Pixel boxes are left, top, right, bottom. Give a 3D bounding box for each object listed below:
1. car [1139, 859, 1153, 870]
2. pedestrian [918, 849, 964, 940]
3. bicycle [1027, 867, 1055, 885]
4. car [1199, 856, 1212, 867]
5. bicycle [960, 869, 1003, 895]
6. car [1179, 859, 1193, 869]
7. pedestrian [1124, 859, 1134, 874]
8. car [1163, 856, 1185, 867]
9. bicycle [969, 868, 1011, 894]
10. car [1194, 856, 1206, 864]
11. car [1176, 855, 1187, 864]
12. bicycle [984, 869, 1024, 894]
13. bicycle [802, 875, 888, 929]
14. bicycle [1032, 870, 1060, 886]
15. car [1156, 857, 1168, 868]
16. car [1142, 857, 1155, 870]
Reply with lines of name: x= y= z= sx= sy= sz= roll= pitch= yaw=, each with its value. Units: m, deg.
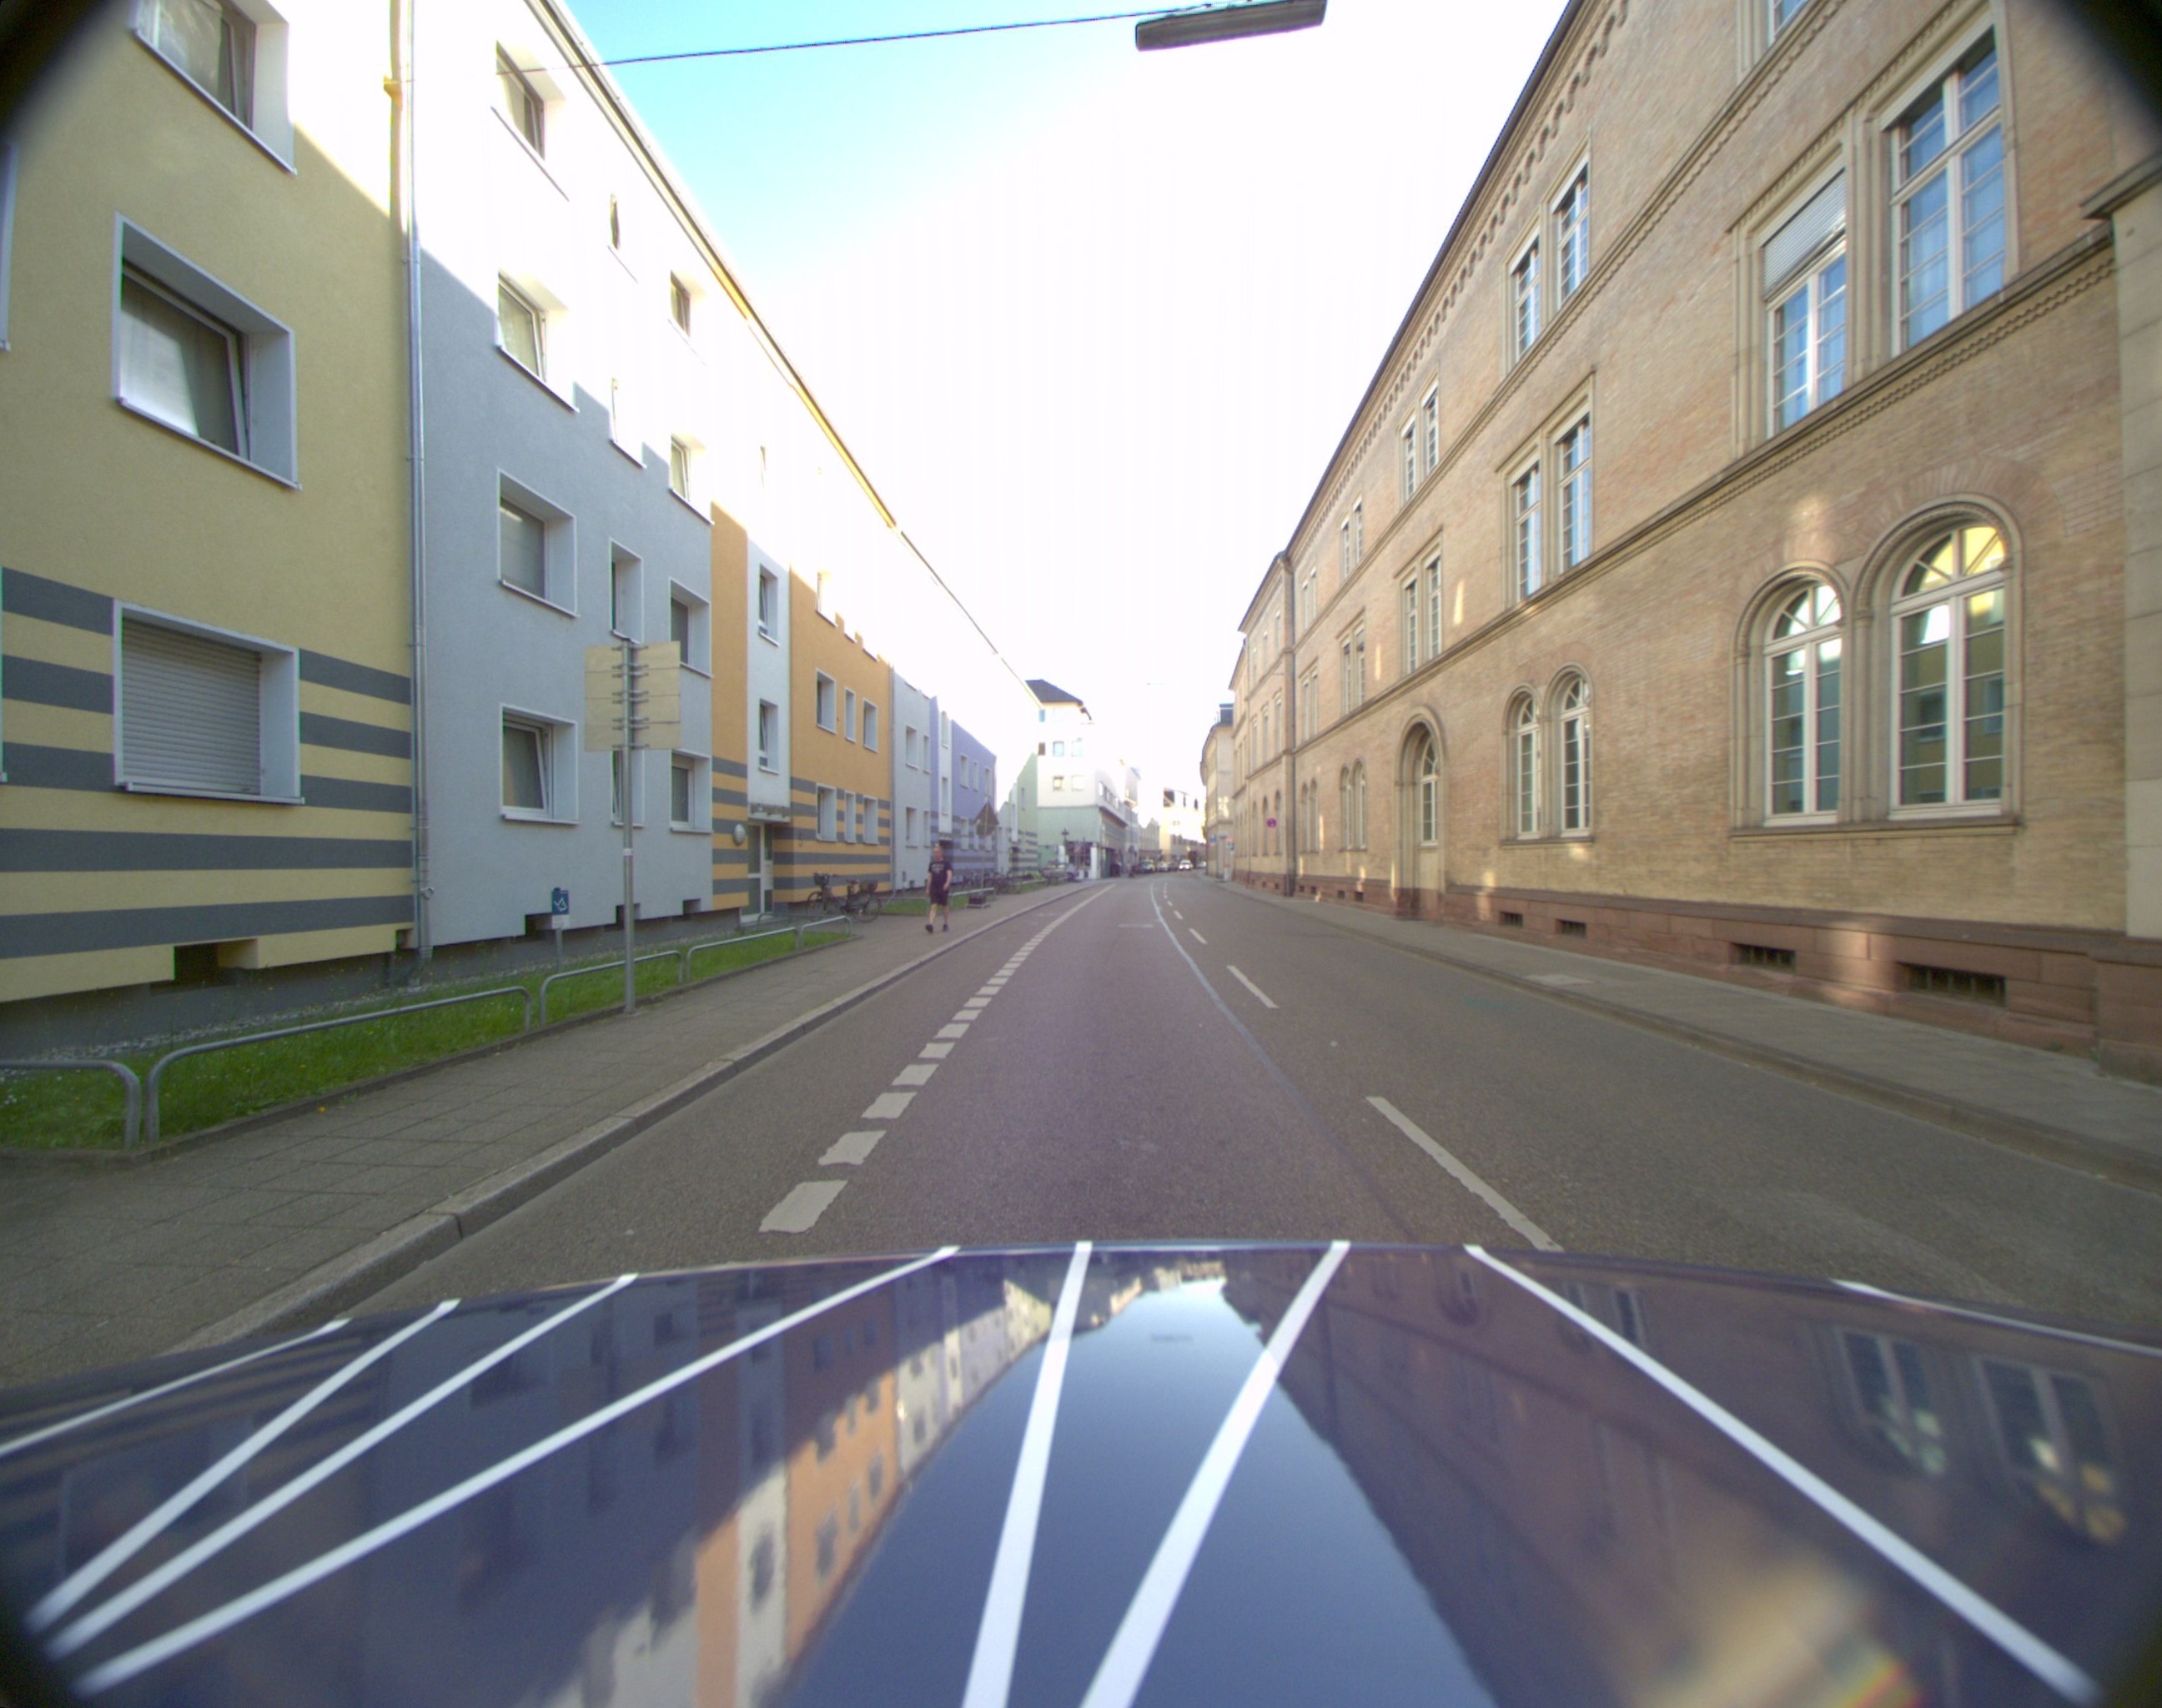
car: x=8.616 y=1.421 z=100.778 sx=1.634 sy=1.405 sz=3.687 roll=0 pitch=0 yaw=8
pedestrian: x=-2.862 y=0.804 z=15.577 sx=0.646 sy=1.778 sz=0.916 roll=3 pitch=0 yaw=4
bicycle: x=-2.431 y=1.338 z=46.122 sx=1.711 sy=1.097 sz=0.585 roll=1 pitch=0 yaw=-2
car: x=19.751 y=1.172 z=120.460 sx=1.662 sy=1.714 sz=3.743 roll=0 pitch=0 yaw=14
bicycle: x=-4.158 y=1.166 z=31.859 sx=1.710 sy=1.039 sz=0.636 roll=1 pitch=0 yaw=2
car: x=18.114 y=1.751 z=130.820 sx=1.921 sy=1.712 sz=4.966 roll=0 pitch=0 yaw=14
pedestrian: x=4.781 y=1.231 z=75.082 sx=0.663 sy=1.509 sz=0.706 roll=-1 pitch=0 yaw=-43
car: x=14.337 y=1.170 z=117.569 sx=1.858 sy=1.714 sz=3.747 roll=0 pitch=0 yaw=35
bicycle: x=-3.957 y=1.179 z=33.002 sx=1.710 sy=1.075 sz=0.636 roll=1 pitch=0 yaw=1
car: x=25.586 y=1.302 z=163.523 sx=1.925 sy=1.714 sz=4.236 roll=0 pitch=0 yaw=19
car: x=19.836 y=1.071 z=149.462 sx=1.534 sy=1.714 sz=3.744 roll=0 pitch=0 yaw=16
bicycle: x=-3.396 y=1.217 z=33.729 sx=1.711 sy=1.029 sz=0.636 roll=1 pitch=0 yaw=-2
bicycle: x=-5.293 y=1.064 z=17.106 sx=1.711 sy=1.152 sz=0.636 roll=1 pitch=0 yaw=-2
bicycle: x=-2.184 y=1.480 z=47.583 sx=1.711 sy=0.972 sz=0.516 roll=1 pitch=0 yaw=-2
car: x=13.040 y=1.337 z=122.130 sx=1.534 sy=1.714 sz=3.743 roll=0 pitch=0 yaw=13
car: x=9.441 y=1.324 z=106.054 sx=1.535 sy=1.714 sz=3.741 roll=0 pitch=0 yaw=8
